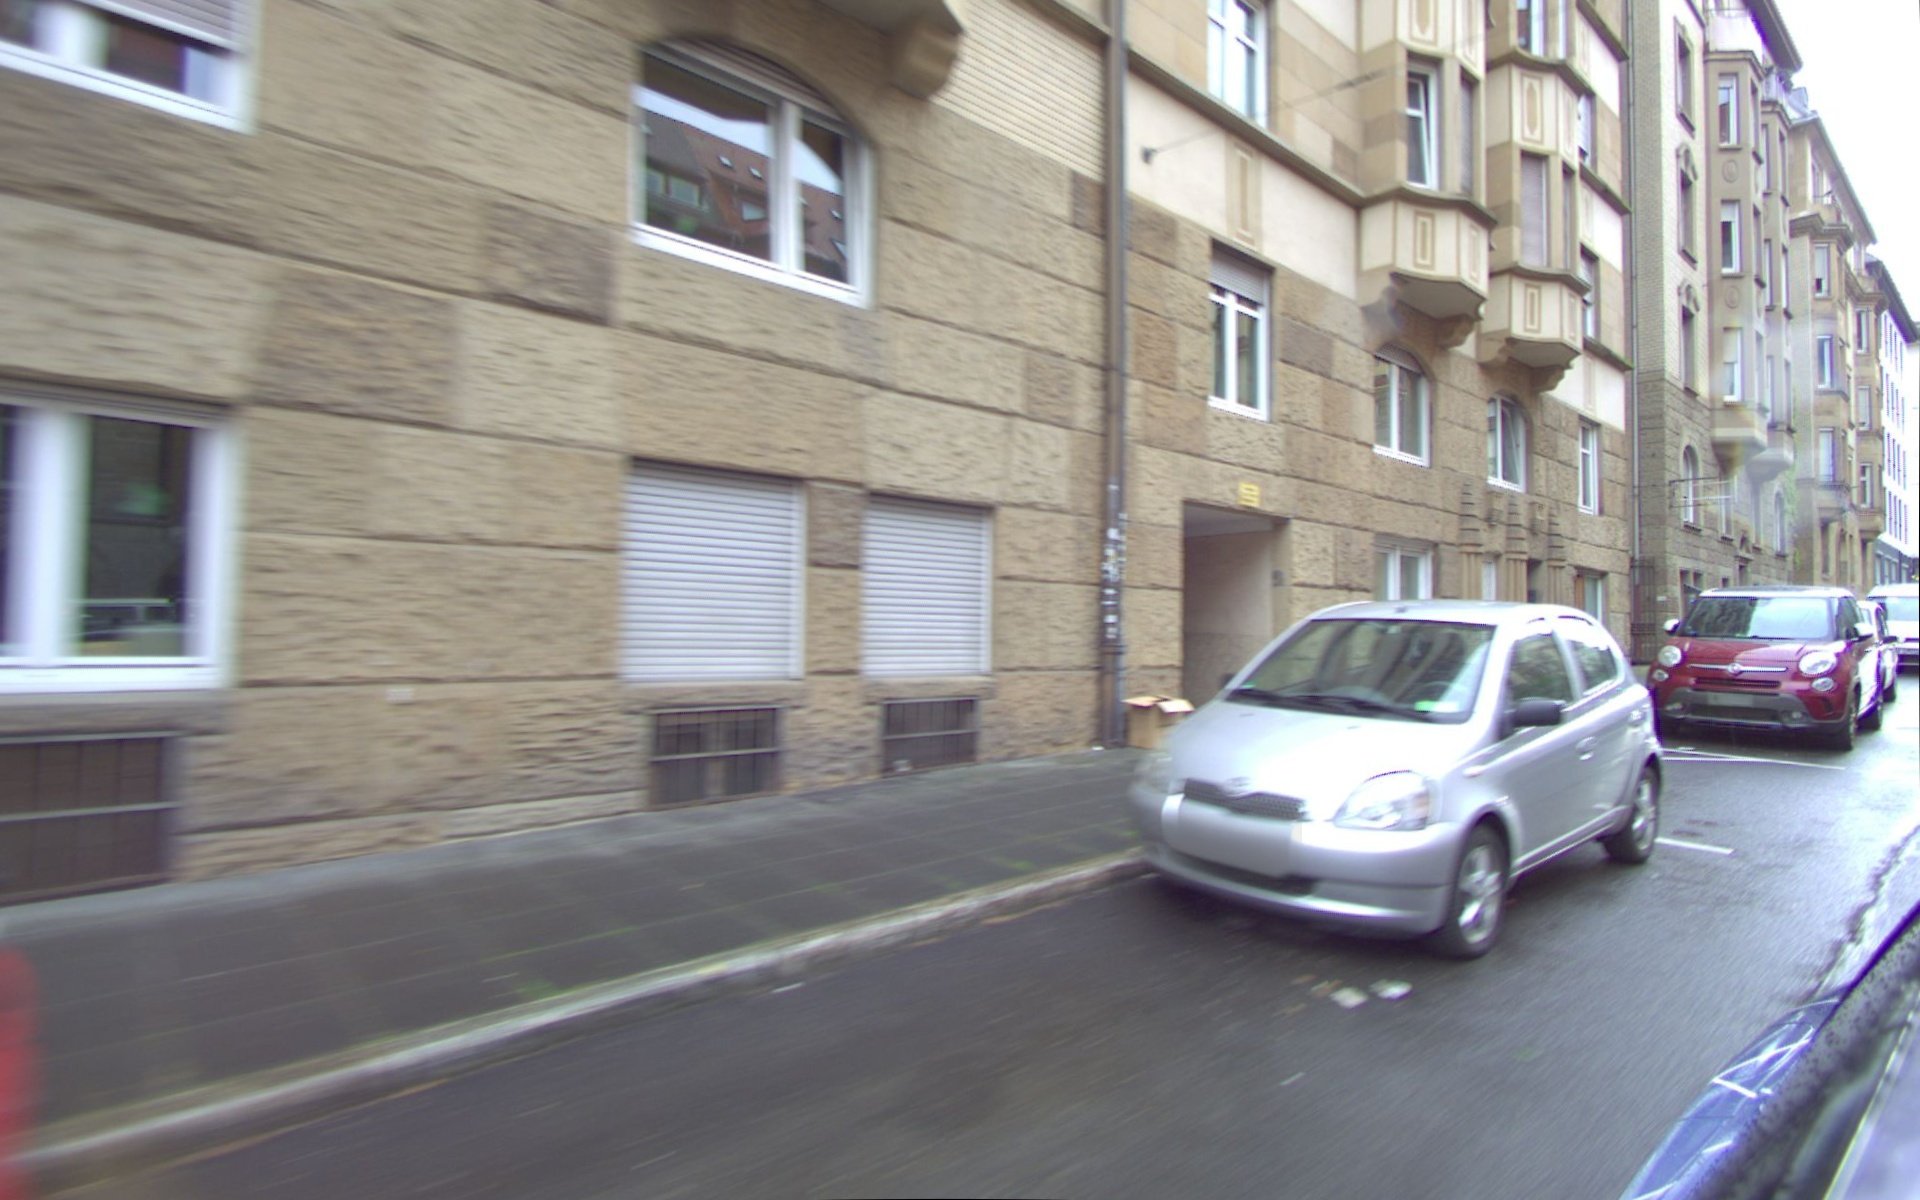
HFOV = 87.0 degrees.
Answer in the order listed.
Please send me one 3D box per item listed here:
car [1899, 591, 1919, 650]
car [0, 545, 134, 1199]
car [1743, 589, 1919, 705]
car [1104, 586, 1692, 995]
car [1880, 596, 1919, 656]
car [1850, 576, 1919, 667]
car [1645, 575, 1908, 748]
[{"bbox_3d":[27.331,0.525,27.724,3.988,1.544,1.933,0,-1,-41],"label":"car"},{"bbox_3d":[-2.877,0.691,0.700,3.474,1.471,1.707,0,-1,-44],"label":"car"},{"bbox_3d":[13.164,0.629,15.205,3.471,1.530,1.630,0,-1,-42],"label":"car"},{"bbox_3d":[2.523,0.690,5.479,3.460,1.505,1.597,0,0,-41],"label":"car"},{"bbox_3d":[24.003,0.588,24.621,3.912,1.406,1.929,0,-1,-41],"label":"car"},{"bbox_3d":[20.213,0.408,21.236,3.893,1.791,1.809,0,0,-41],"label":"car"},{"bbox_3d":[9.353,0.556,11.480,3.932,1.621,1.771,0,1,-43],"label":"car"}]
